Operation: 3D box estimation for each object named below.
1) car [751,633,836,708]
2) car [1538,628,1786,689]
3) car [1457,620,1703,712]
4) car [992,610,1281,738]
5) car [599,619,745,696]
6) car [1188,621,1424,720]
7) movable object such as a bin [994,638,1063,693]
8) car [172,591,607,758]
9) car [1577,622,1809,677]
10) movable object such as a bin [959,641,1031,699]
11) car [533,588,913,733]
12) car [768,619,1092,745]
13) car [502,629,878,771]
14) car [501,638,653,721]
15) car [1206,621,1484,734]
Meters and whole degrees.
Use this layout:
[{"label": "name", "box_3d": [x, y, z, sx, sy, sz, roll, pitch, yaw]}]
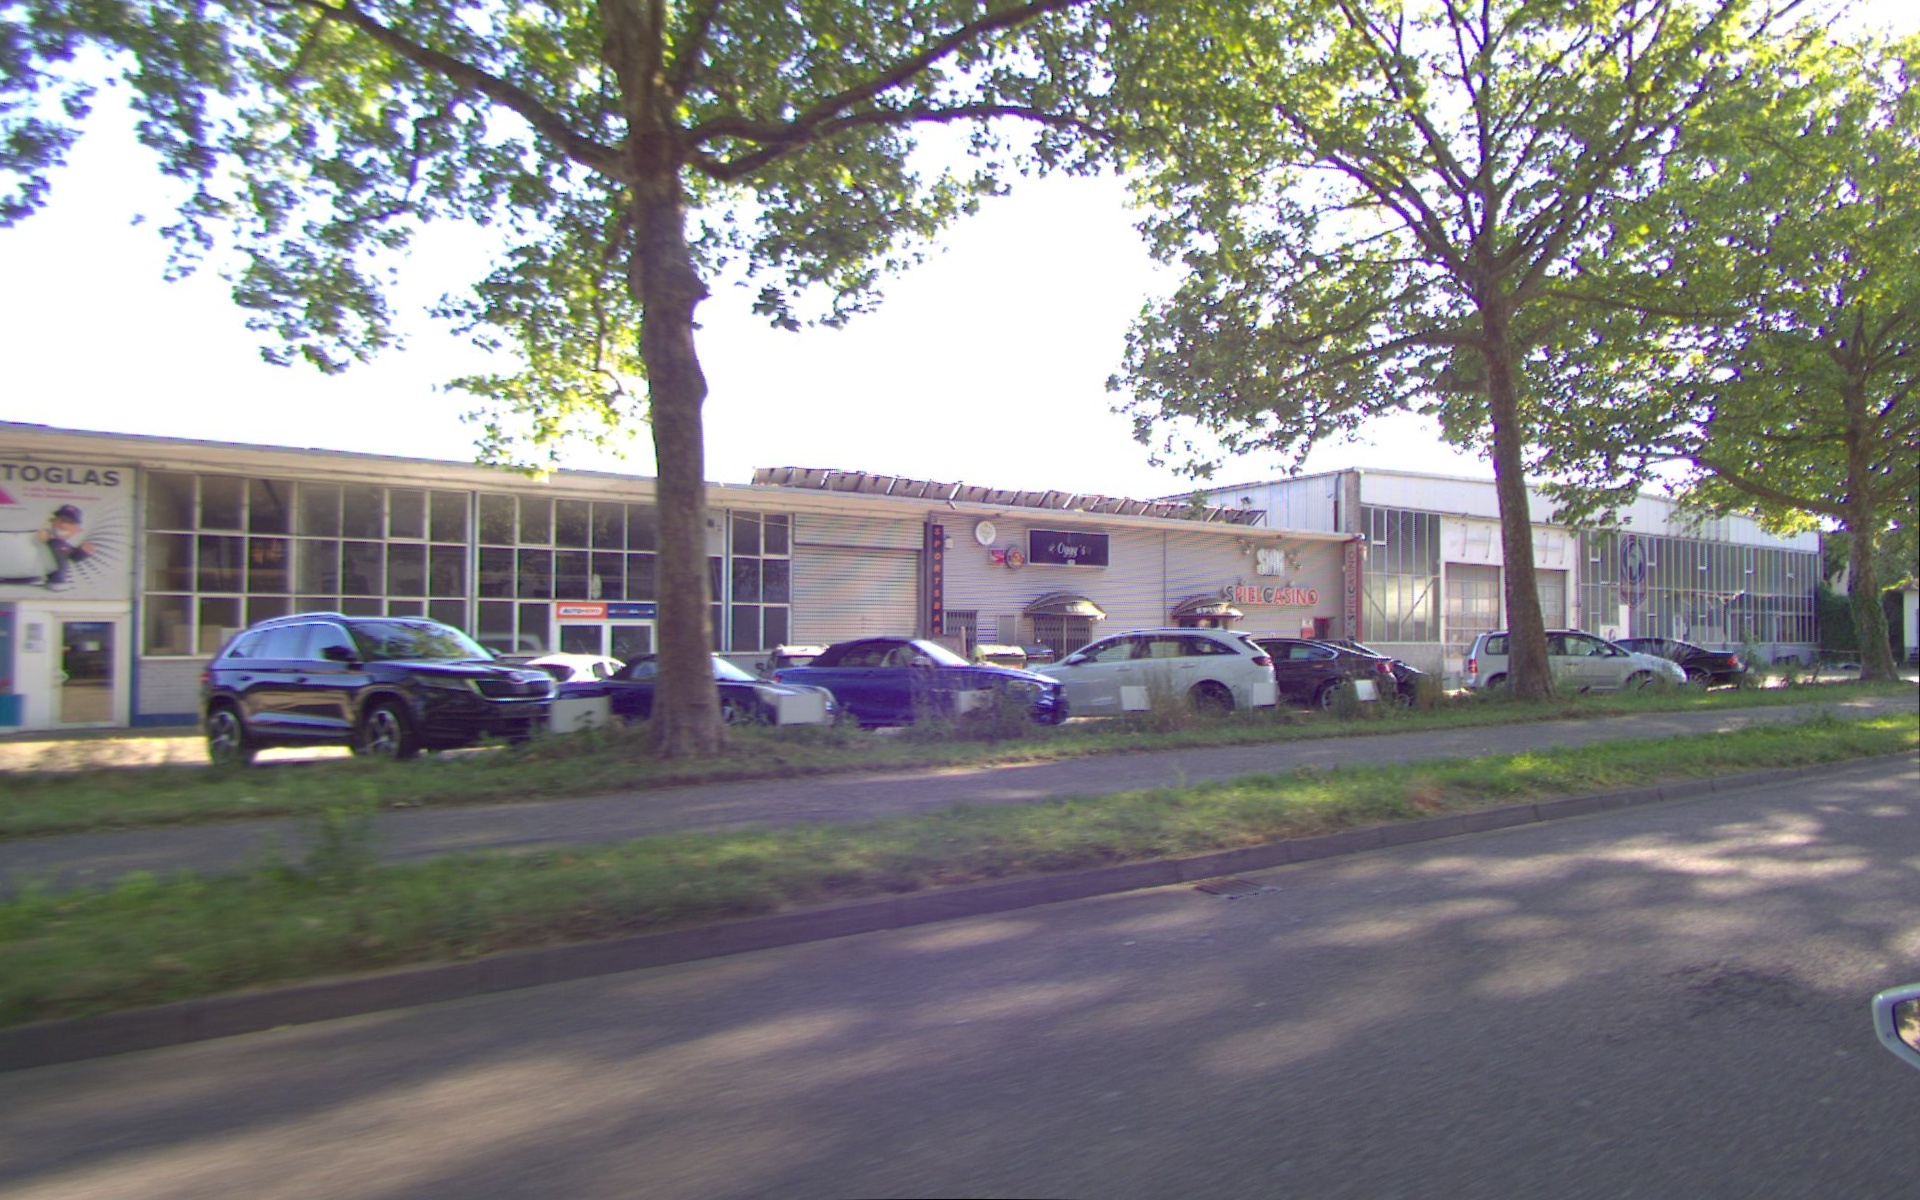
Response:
[{"label": "car", "box_3d": [-3.624, 1.499, 22.290, 1.677, 1.425, 3.294, 2, -1, -7]}, {"label": "car", "box_3d": [16.360, 1.334, 23.701, 4.396, 1.323, 2.000, 0, -1, 19]}, {"label": "car", "box_3d": [13.698, 1.401, 22.554, 4.398, 1.753, 1.999, 1, -1, 23]}, {"label": "car", "box_3d": [2.780, 1.085, 15.872, 4.176, 1.722, 2.001, 2, -1, 14]}, {"label": "car", "box_3d": [-5.893, 1.130, 20.940, 1.674, 1.425, 3.300, 2, -1, 8]}, {"label": "car", "box_3d": [6.828, 1.315, 19.887, 4.180, 1.651, 1.999, 1, -1, 23]}, {"label": "movable object such as a bin", "box_3d": [1.908, 1.806, 28.069, 1.610, 1.450, 1.050, 2, -1, -33]}, {"label": "car", "box_3d": [-6.266, 0.707, 11.087, 4.180, 1.471, 1.999, 1, -1, 22]}, {"label": "car", "box_3d": [18.596, 1.228, 25.750, 4.396, 1.323, 2.000, 0, -1, 19]}, {"label": "movable object such as a bin", "box_3d": [0.933, 1.849, 26.775, 1.556, 1.450, 1.050, 2, -1, -33]}, {"label": "car", "box_3d": [-2.917, 0.663, 12.475, 4.180, 1.471, 1.999, 1, -1, 22]}, {"label": "car", "box_3d": [-0.409, 1.077, 14.423, 4.180, 1.471, 1.999, 1, -1, 22]}, {"label": "car", "box_3d": [-3.370, 1.134, 12.629, 4.180, 1.400, 1.999, 1, -1, 22]}, {"label": "car", "box_3d": [-7.572, 1.530, 20.180, 1.522, 1.403, 3.300, 2, -1, 5]}, {"label": "car", "box_3d": [6.400, 1.248, 17.220, 4.176, 1.651, 2.001, 2, -1, 13]}]
